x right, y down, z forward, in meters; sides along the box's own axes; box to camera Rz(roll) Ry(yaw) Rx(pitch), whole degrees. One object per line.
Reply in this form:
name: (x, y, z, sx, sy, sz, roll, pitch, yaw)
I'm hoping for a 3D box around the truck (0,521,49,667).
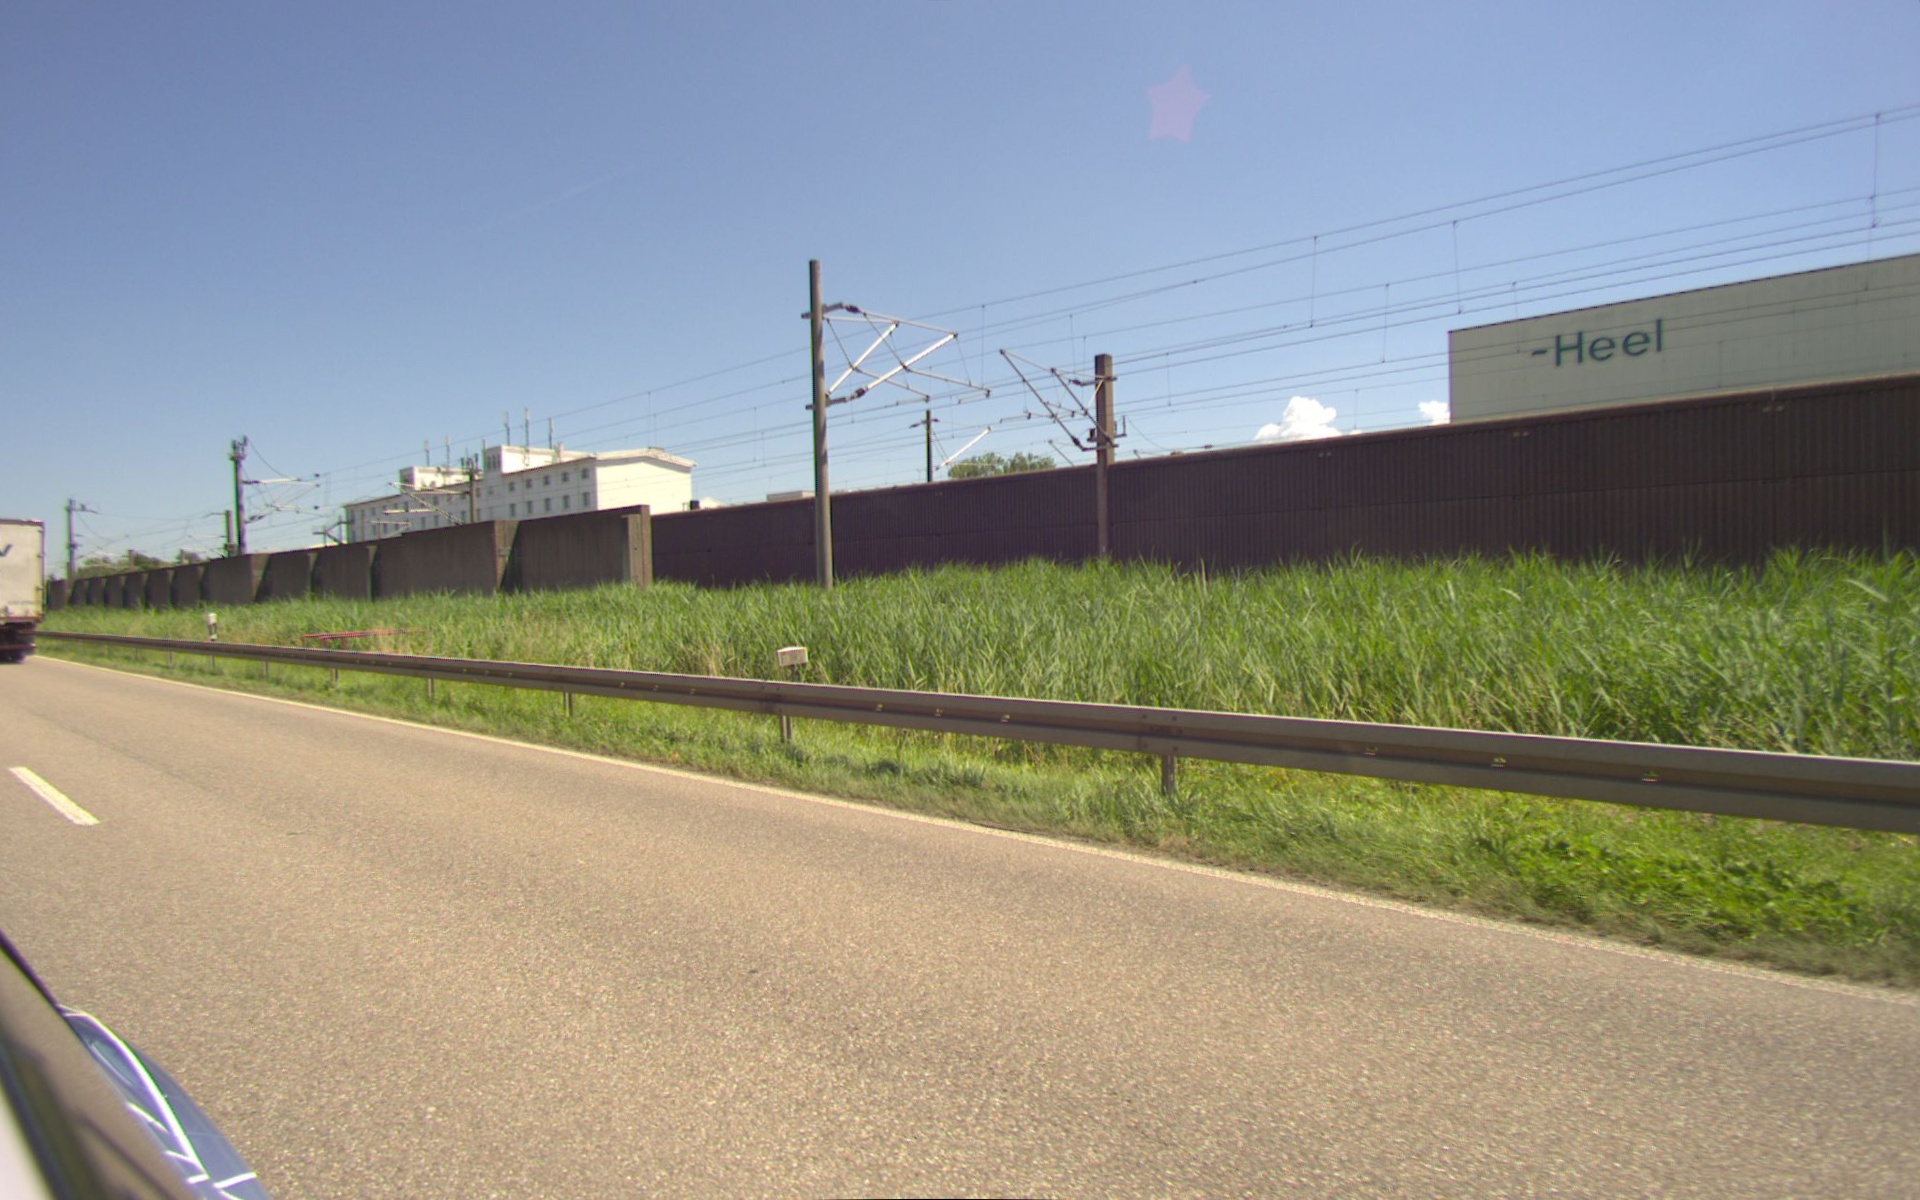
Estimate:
truck: (-30.448, -0.102, 30.830, 10.495, 4.008, 2.768, -1, 0, 41)
